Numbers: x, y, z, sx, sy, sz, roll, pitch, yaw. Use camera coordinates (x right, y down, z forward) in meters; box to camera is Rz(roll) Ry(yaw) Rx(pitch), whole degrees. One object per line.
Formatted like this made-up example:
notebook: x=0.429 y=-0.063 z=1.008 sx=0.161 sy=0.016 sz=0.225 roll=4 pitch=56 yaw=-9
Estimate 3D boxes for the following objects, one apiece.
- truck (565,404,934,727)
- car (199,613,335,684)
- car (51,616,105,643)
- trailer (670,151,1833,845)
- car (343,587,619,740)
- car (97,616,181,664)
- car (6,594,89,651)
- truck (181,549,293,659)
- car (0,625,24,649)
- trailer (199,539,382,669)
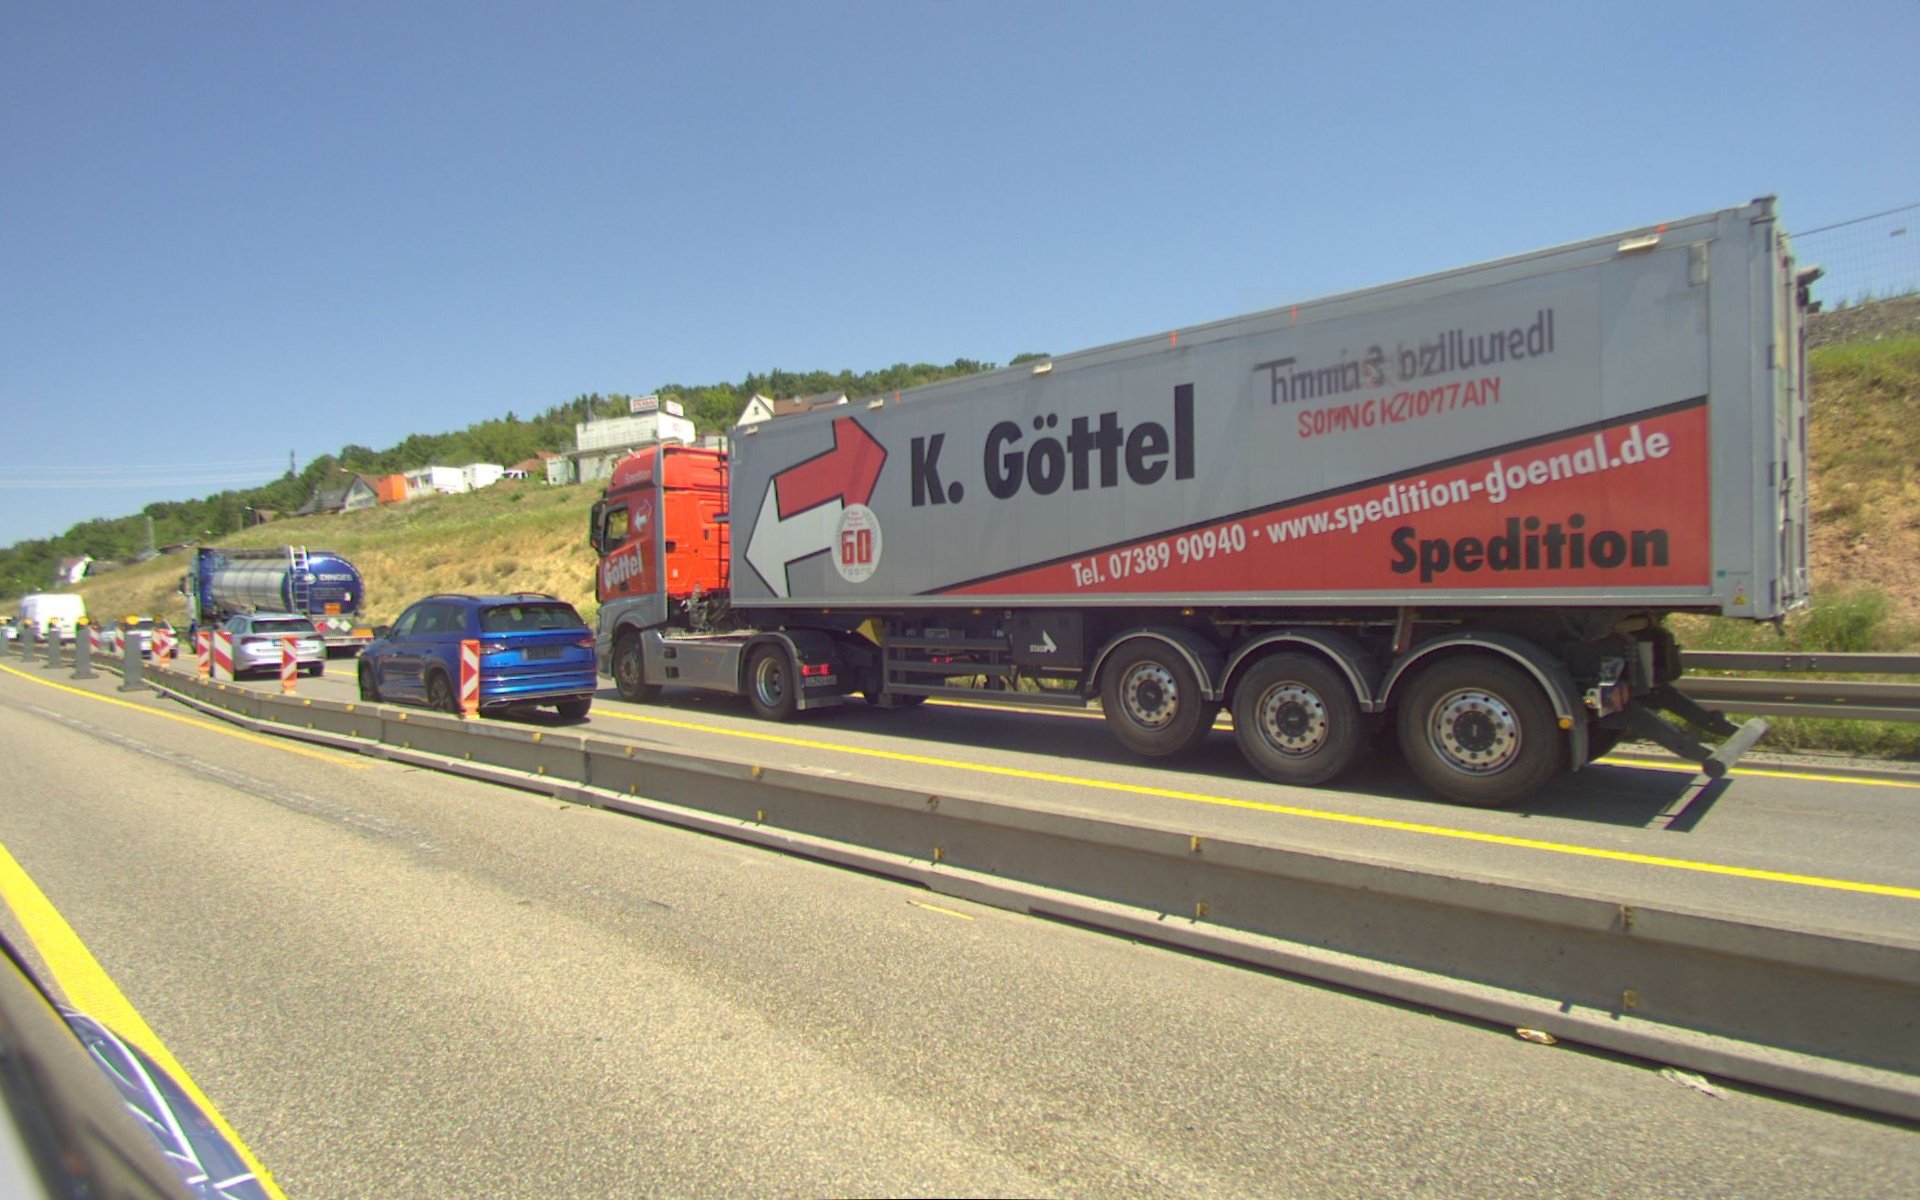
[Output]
truck: x=-3.237 y=-0.410 z=14.871 sx=5.378 sy=3.857 sz=2.558 roll=-1 pitch=0 yaw=41
car: x=-16.237 y=1.074 z=23.620 sx=1.813 sy=1.440 sz=4.537 roll=-1 pitch=0 yaw=-45
car: x=-53.761 y=1.797 z=61.676 sx=4.386 sy=1.502 sz=1.815 roll=-1 pitch=0 yaw=40
trailer: x=1.297 y=-0.539 z=10.628 sx=11.821 sy=3.844 sz=2.627 roll=-1 pitch=0 yaw=43
car: x=-6.506 y=0.725 z=13.459 sx=4.686 sy=1.676 sz=1.813 roll=-1 pitch=0 yaw=45
car: x=-29.154 y=1.373 z=35.885 sx=1.813 sy=1.530 sz=4.846 roll=-1 pitch=0 yaw=-45
car: x=-45.322 y=1.109 z=50.197 sx=6.623 sy=2.649 sz=2.184 roll=-1 pitch=0 yaw=40
truck: x=-28.160 y=0.140 z=39.363 sx=4.587 sy=4.006 sz=2.555 roll=-1 pitch=0 yaw=42
car: x=-56.705 y=2.182 z=59.590 sx=4.386 sy=1.387 sz=1.815 roll=-1 pitch=0 yaw=40
trailer: x=-23.515 y=0.143 z=35.150 sx=11.271 sy=3.899 sz=2.572 roll=-1 pitch=0 yaw=42
